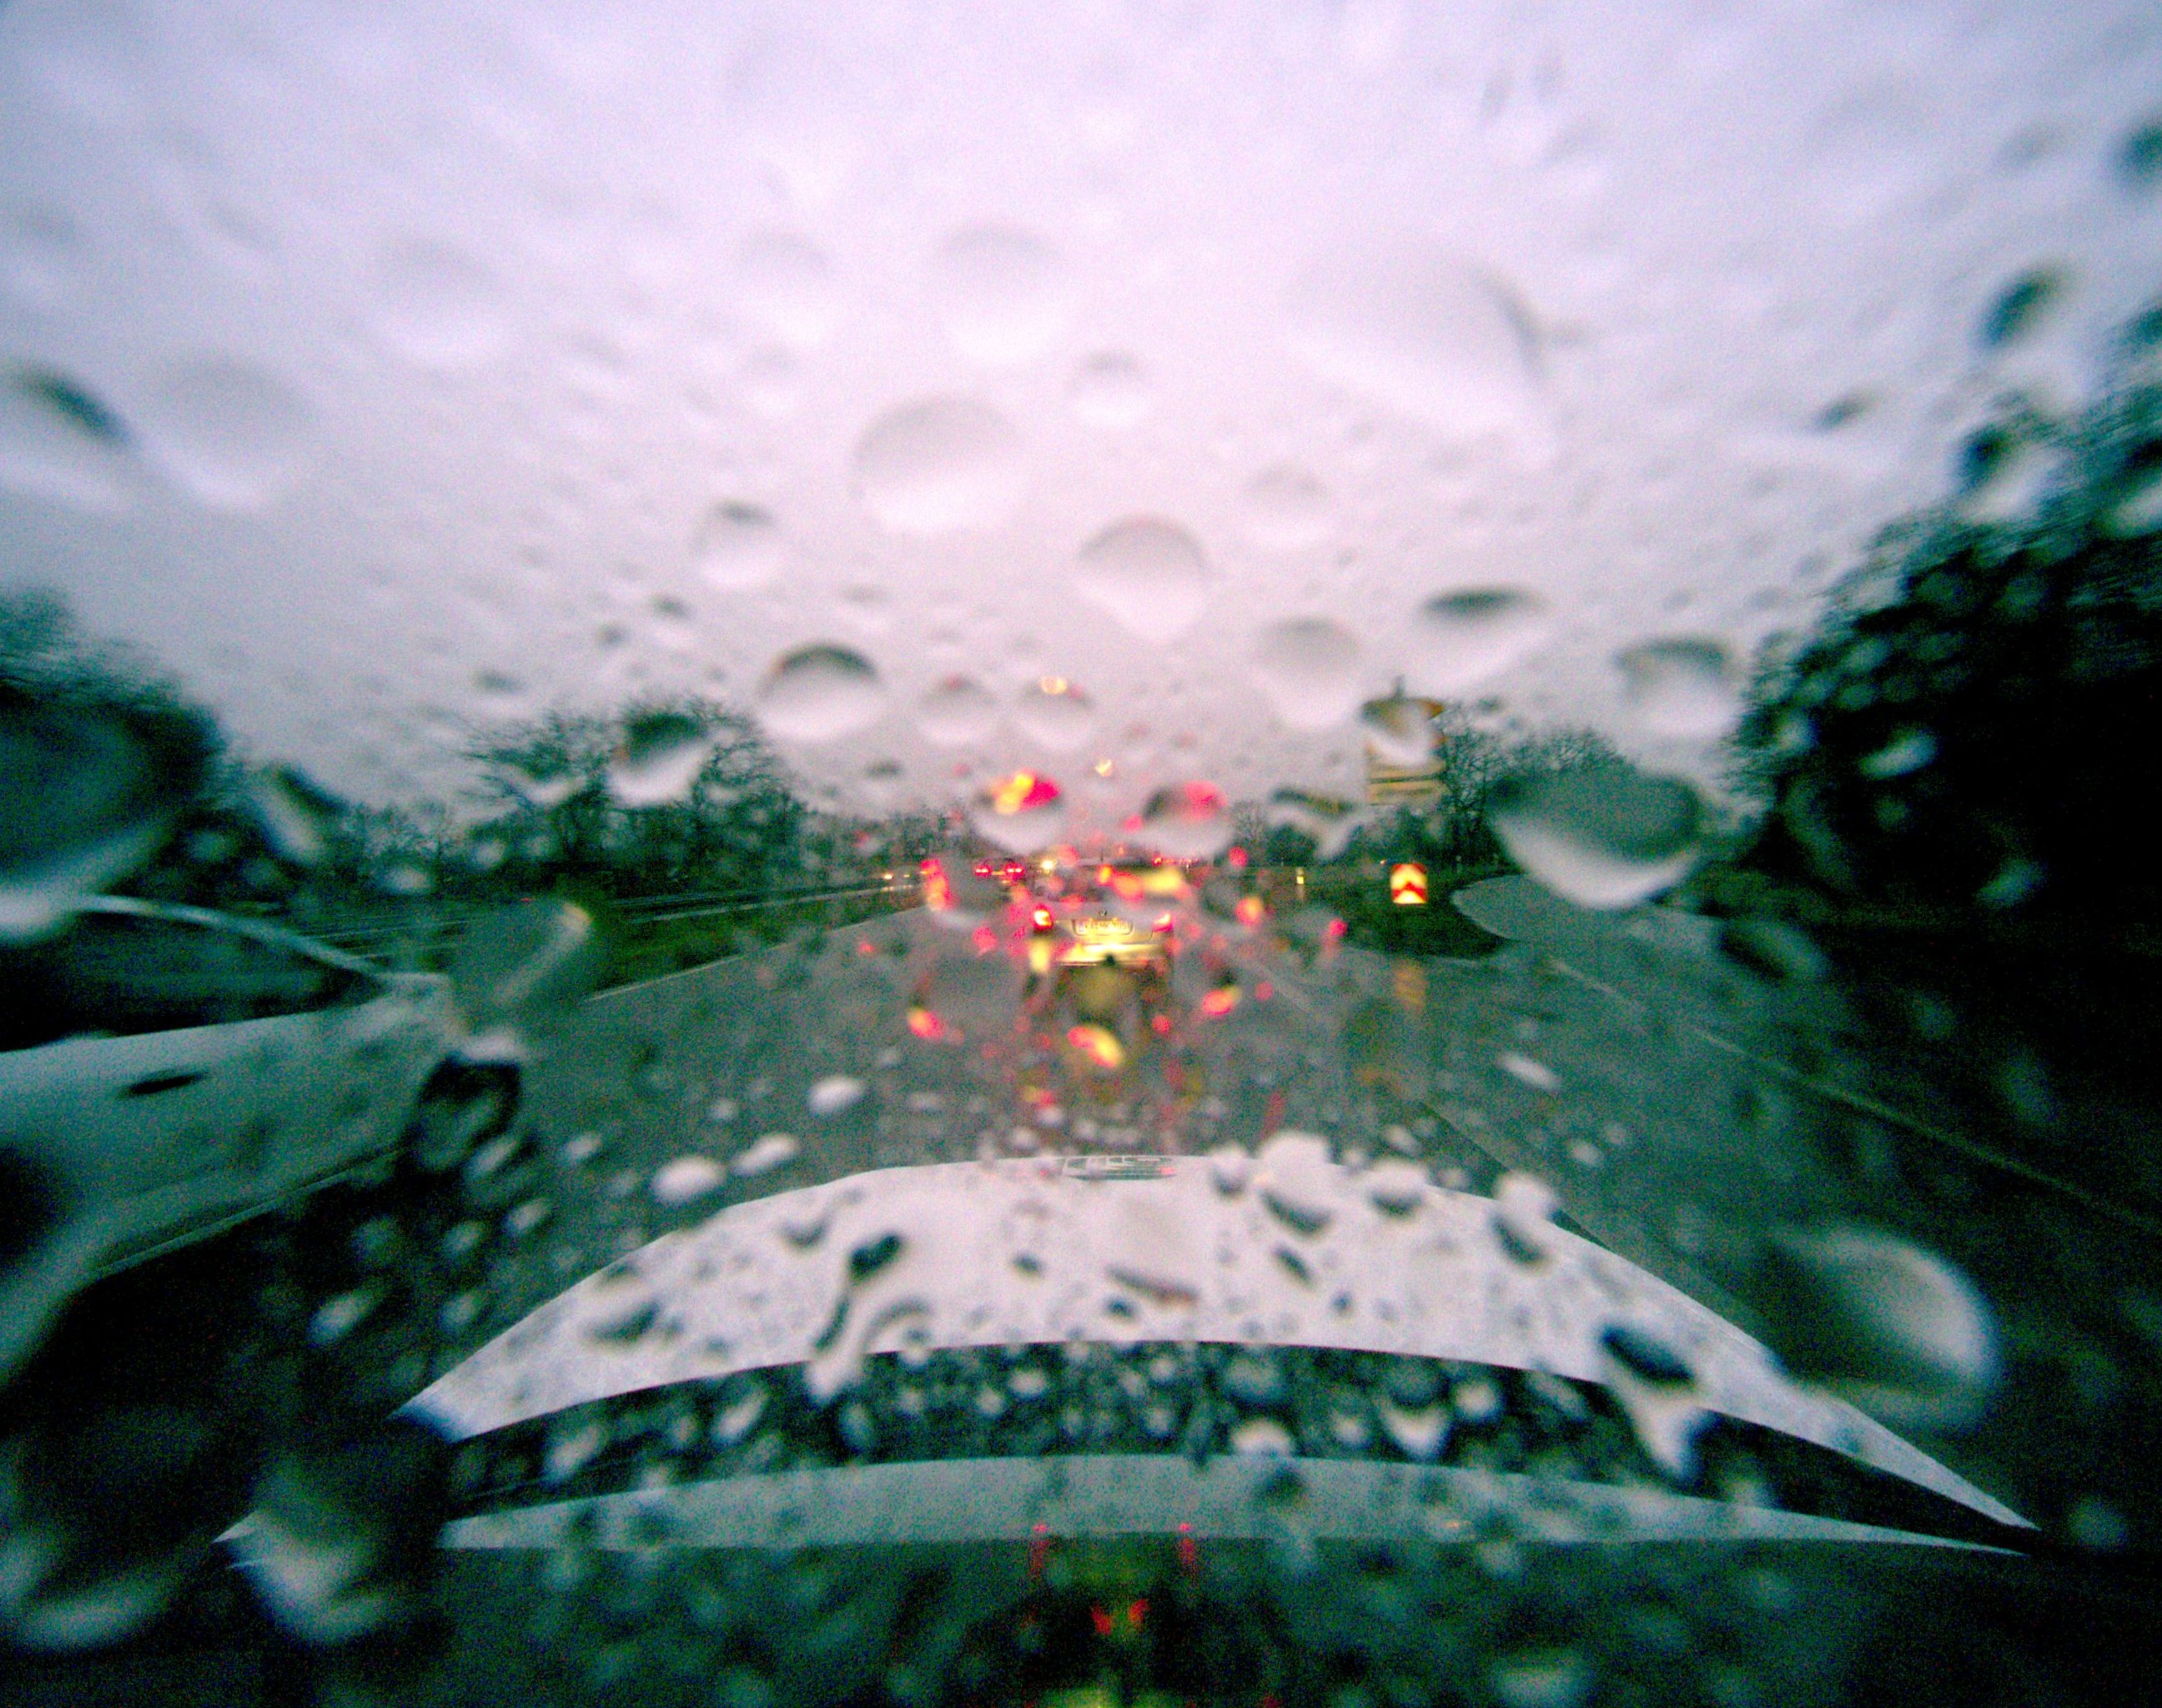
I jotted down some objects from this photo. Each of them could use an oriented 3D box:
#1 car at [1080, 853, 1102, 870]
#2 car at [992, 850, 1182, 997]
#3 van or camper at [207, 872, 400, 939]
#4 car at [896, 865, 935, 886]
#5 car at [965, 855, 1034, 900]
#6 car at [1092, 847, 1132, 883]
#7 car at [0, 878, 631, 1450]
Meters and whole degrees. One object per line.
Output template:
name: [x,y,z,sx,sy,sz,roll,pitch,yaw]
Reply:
car: [0.941,0.696,77.593,1.781,1.545,4.005,-2,0,4]
car: [0.198,0.767,10.772,1.985,1.500,4.141,-2,-1,4]
van or camper: [-23.592,1.484,24.971,1.641,1.784,4.213,-2,-1,5]
car: [-12.596,1.625,62.240,1.775,1.533,4.058,-2,-1,5]
car: [-3.063,0.871,31.540,1.985,1.601,4.312,0,0,3]
car: [1.695,0.546,43.216,1.888,1.767,4.314,-2,0,5]
car: [-3.717,0.897,2.766,1.716,1.440,4.231,-2,0,5]
